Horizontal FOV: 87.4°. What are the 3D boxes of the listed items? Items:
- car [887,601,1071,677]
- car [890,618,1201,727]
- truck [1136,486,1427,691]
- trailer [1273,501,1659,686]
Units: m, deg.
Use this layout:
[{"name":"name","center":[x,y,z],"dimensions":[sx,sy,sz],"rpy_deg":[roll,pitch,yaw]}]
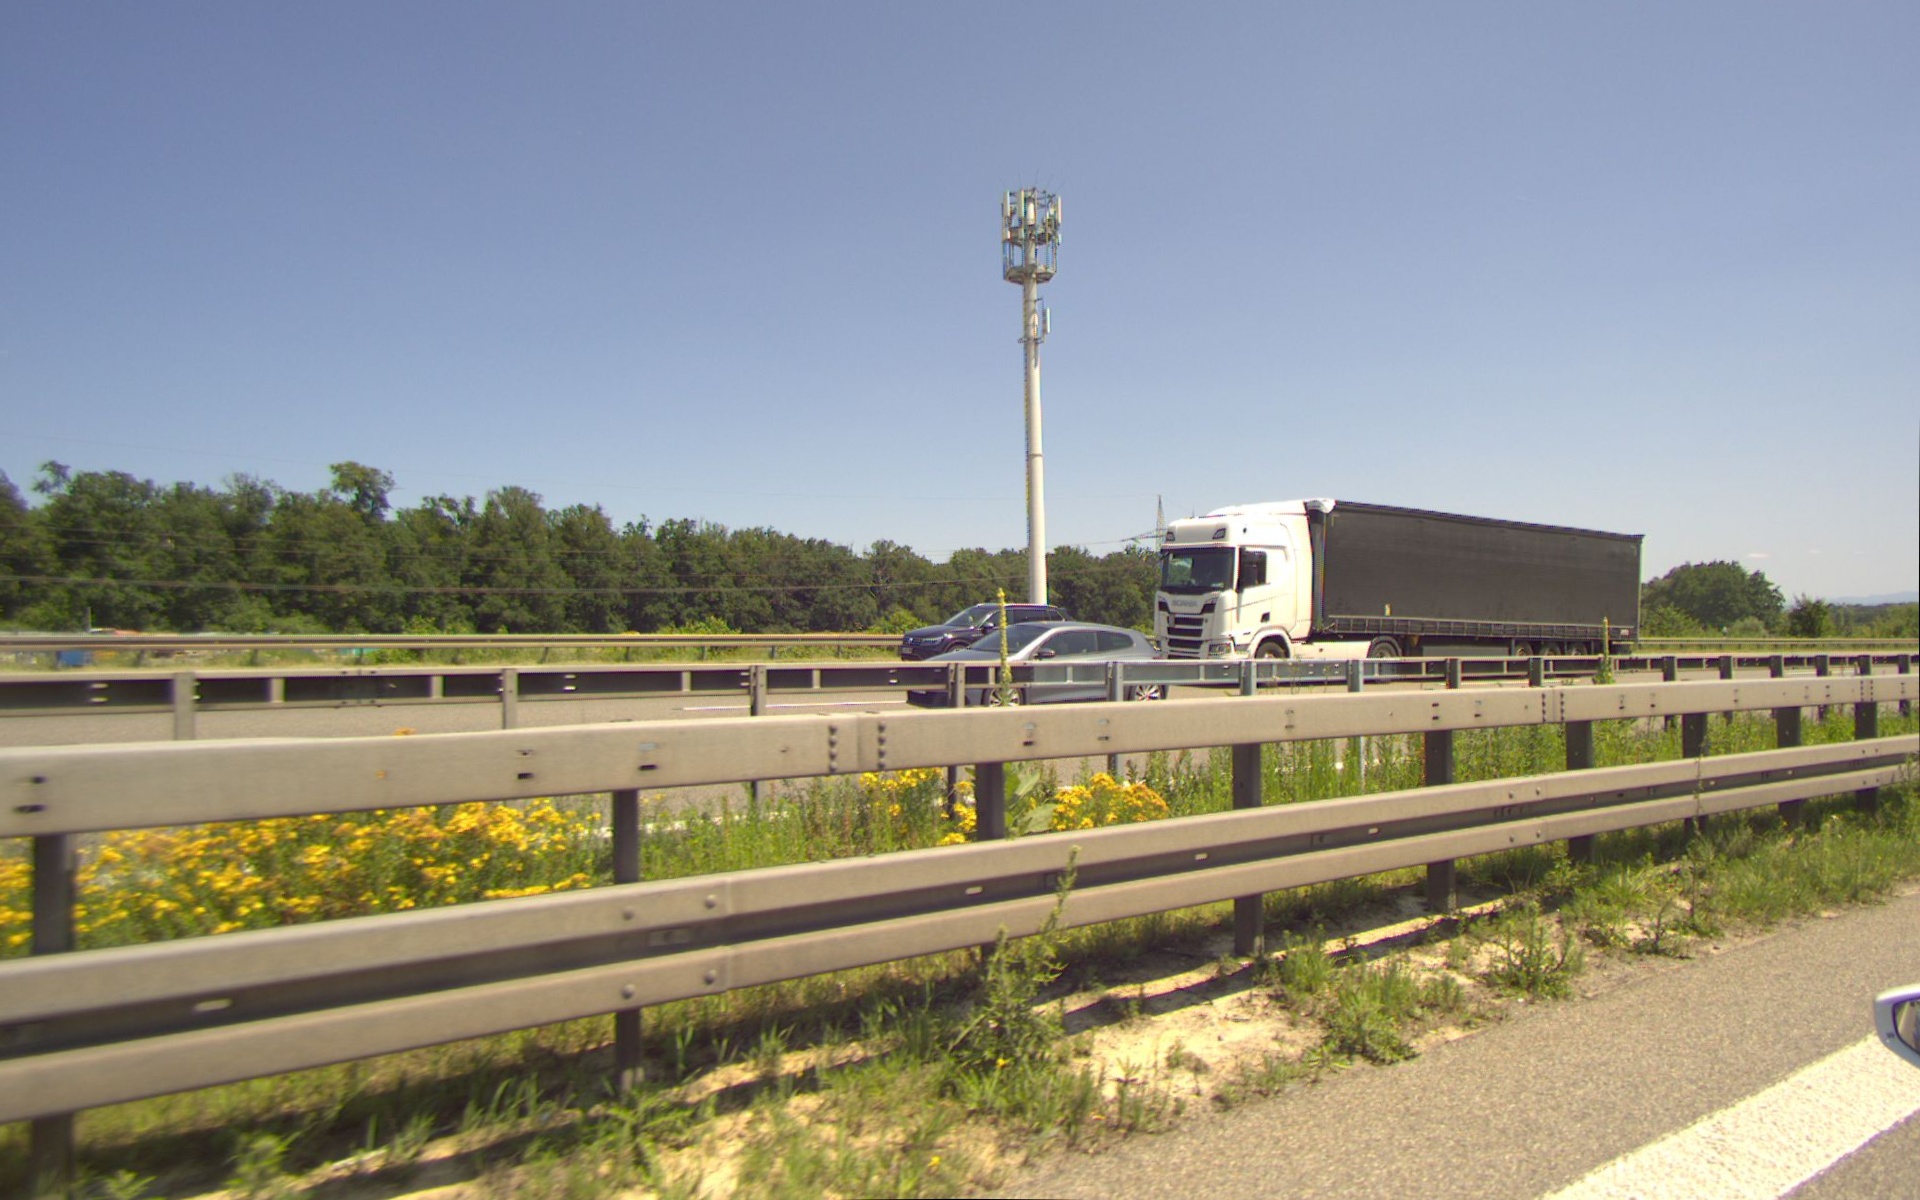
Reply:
[{"name":"car","center":[0.466,0.902,23.708],"dimensions":[3.953,1.635,1.869],"rpy_deg":[1,0,-30]},{"name":"car","center":[1.330,1.008,14.976],"dimensions":[4.444,1.378,1.698],"rpy_deg":[1,0,-30]},{"name":"truck","center":[7.494,-0.188,23.271],"dimensions":[6.309,4.172,2.867],"rpy_deg":[1,0,-30]},{"name":"trailer","center":[13.983,-0.022,27.042],"dimensions":[12.436,4.168,2.876],"rpy_deg":[1,0,-30]}]
